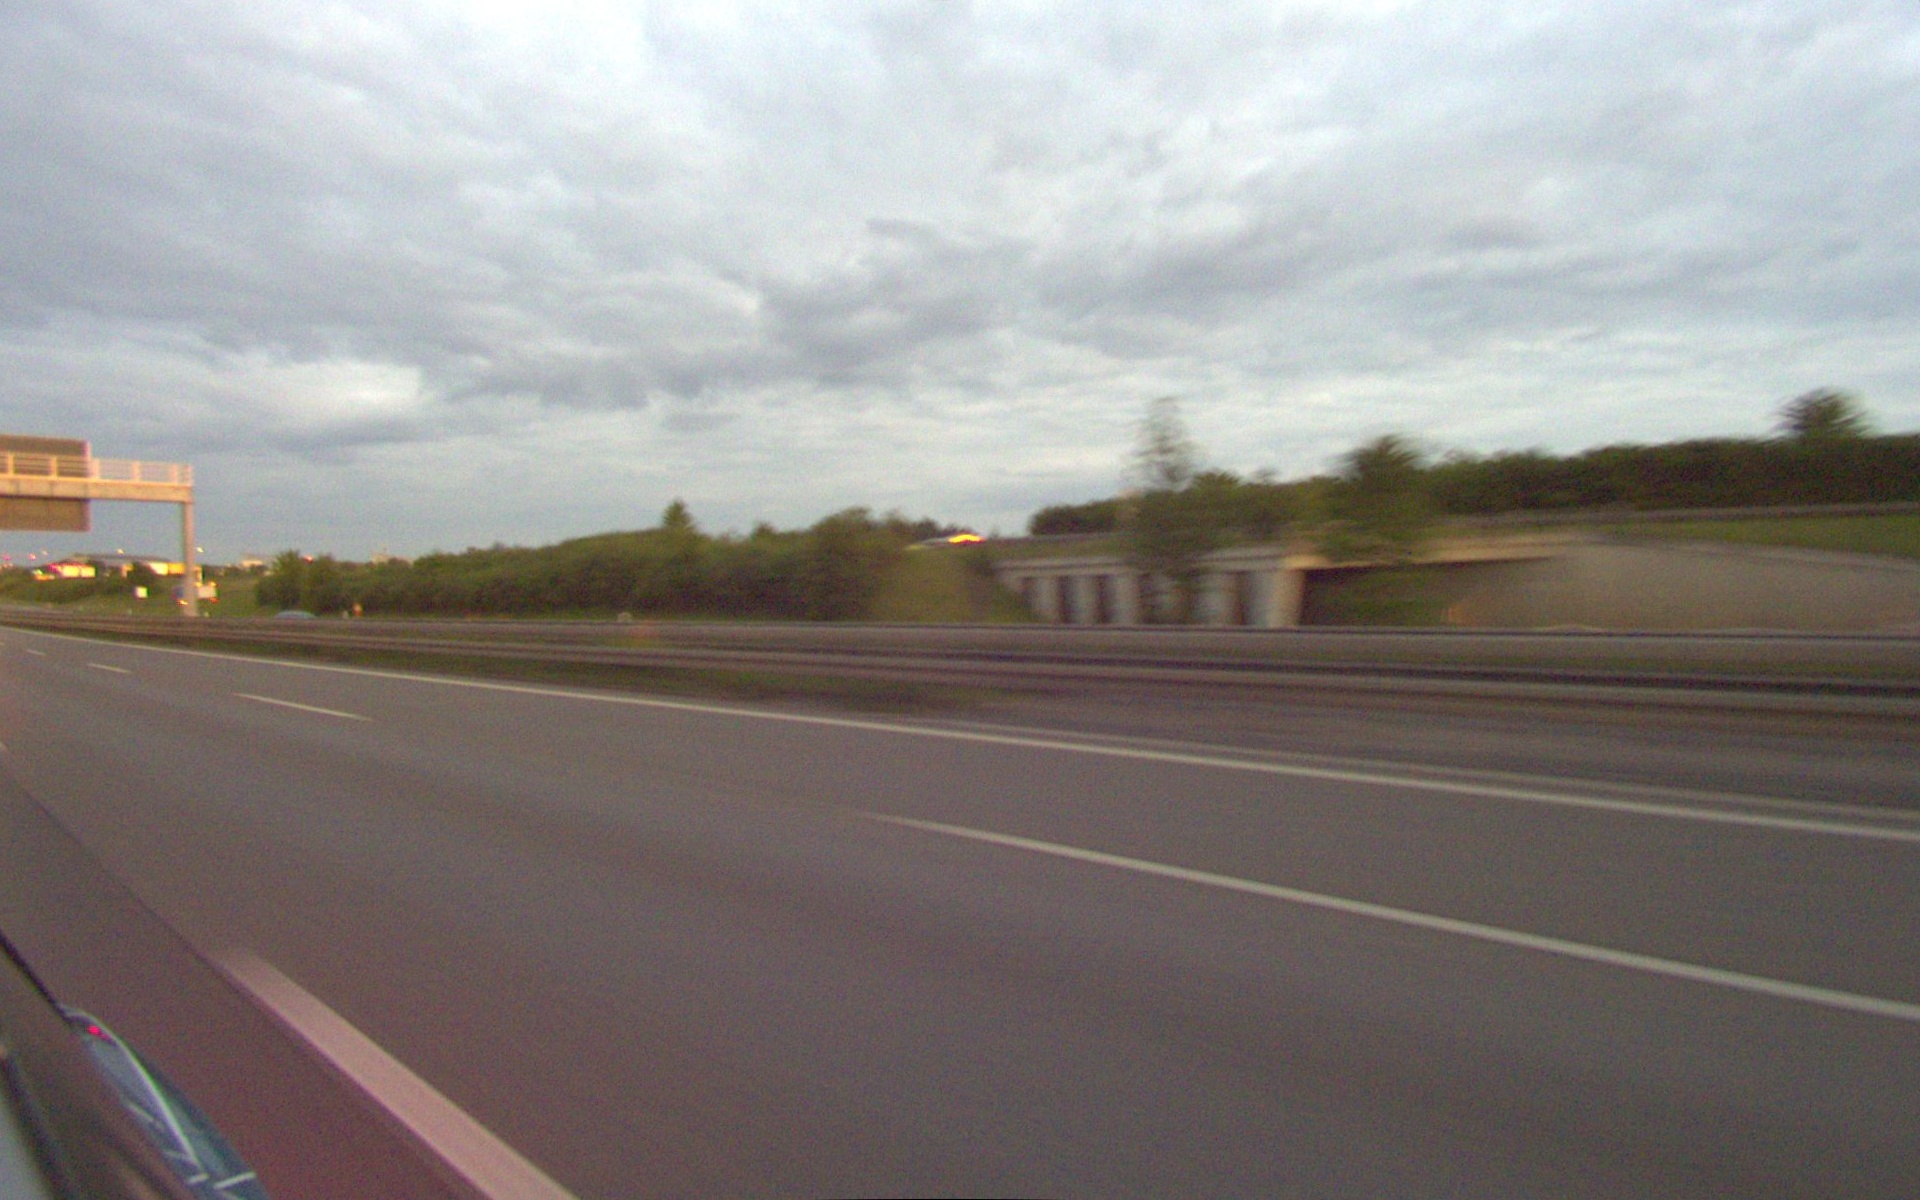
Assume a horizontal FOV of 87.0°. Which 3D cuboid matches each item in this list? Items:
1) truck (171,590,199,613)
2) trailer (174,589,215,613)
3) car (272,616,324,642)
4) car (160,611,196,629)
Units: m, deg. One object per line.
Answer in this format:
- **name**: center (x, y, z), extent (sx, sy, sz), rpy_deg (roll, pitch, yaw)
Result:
- **truck**: center (-145.129, 0.315, 189.533), extent (5.468, 4.102, 2.666), rpy_deg (-1, 1, 37)
- **trailer**: center (-141.075, 0.218, 186.434), extent (12.471, 4.102, 2.666), rpy_deg (-1, 1, 37)
- **car**: center (-42.297, 1.840, 64.633), extent (4.429, 1.411, 1.671), rpy_deg (0, 3, 43)
- **car**: center (-67.334, 1.714, 87.115), extent (4.429, 1.411, 1.671), rpy_deg (0, 3, 43)
